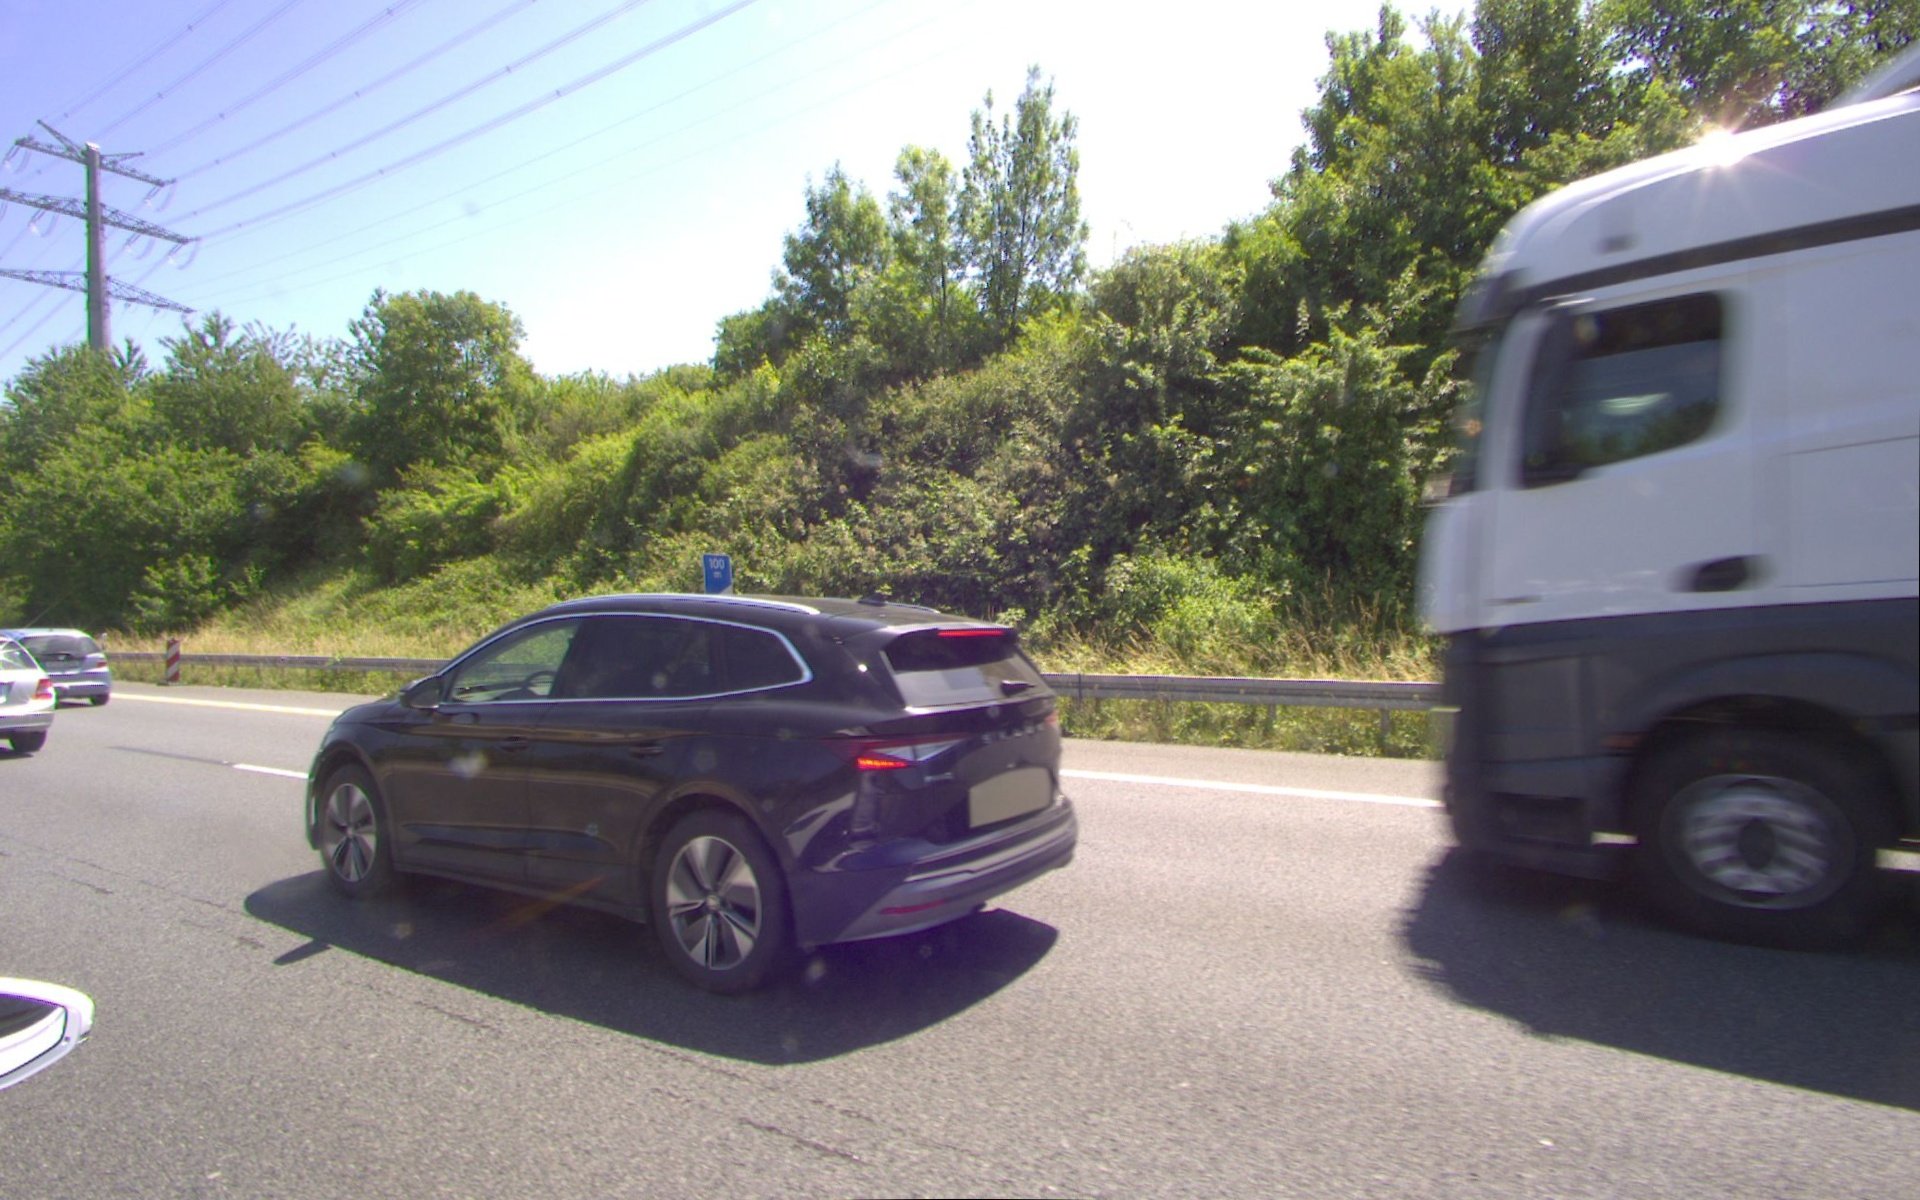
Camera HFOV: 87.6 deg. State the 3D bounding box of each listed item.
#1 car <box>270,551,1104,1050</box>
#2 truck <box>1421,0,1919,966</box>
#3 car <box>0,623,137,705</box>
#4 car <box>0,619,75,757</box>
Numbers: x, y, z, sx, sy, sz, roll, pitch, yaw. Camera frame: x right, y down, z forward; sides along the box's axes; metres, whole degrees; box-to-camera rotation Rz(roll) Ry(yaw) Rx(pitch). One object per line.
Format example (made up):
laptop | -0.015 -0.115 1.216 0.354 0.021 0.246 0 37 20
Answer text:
car | -1.599 0.741 5.248 4.365 1.676 1.698 -1 -2 31
truck | 5.421 -0.579 4.581 5.711 4.099 2.728 -1 -2 32
car | -17.929 1.210 19.629 3.734 1.466 1.698 -1 -2 32
car | -12.648 1.013 12.090 4.297 1.537 1.768 -1 -2 32
